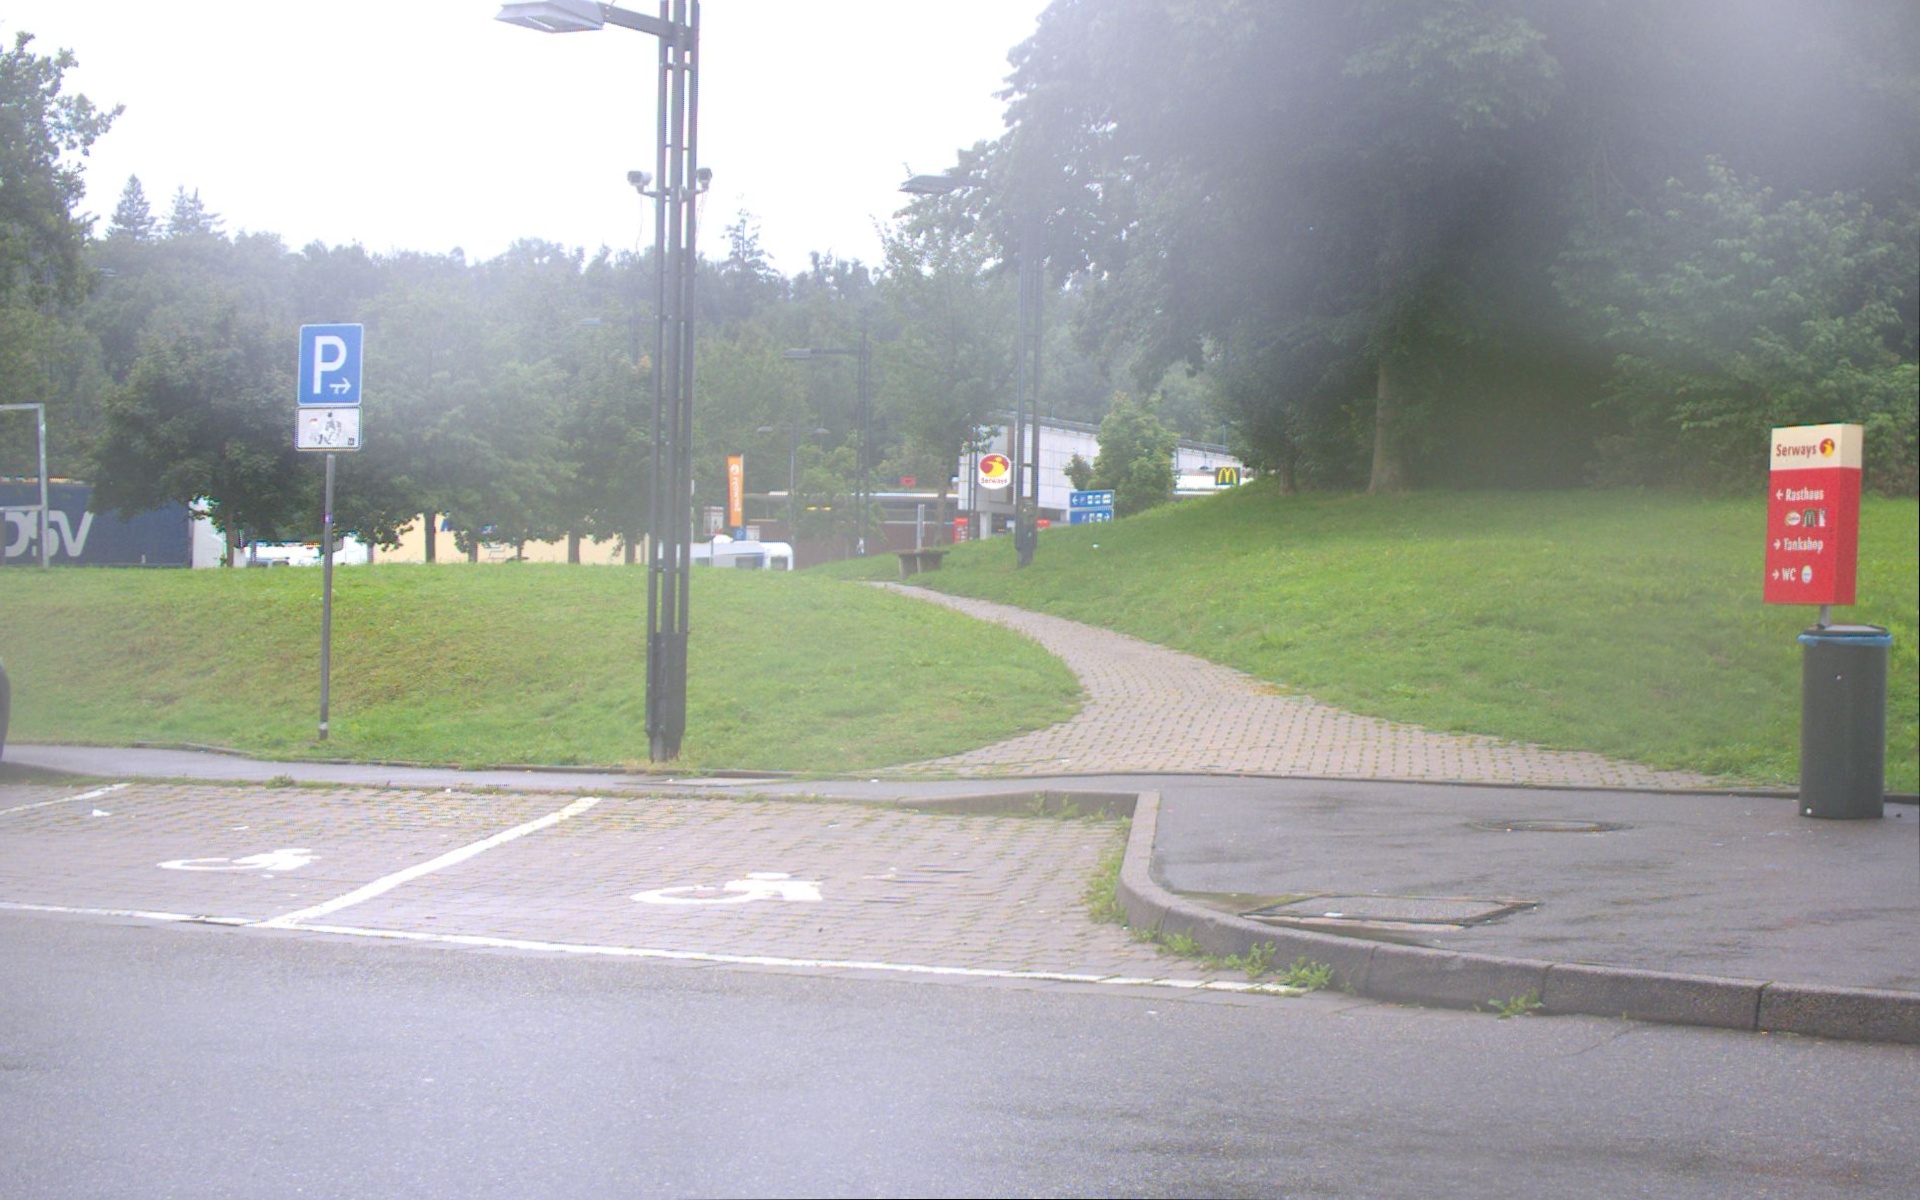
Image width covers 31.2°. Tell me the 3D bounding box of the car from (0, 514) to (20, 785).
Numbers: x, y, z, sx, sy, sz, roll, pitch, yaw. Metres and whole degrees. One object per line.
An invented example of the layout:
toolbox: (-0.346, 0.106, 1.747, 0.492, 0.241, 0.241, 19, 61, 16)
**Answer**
car: (-7.767, 0.372, 21.452, 1.885, 1.821, 4.411, 0, 1, 11)

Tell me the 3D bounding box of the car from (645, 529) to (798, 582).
car: (-9.269, -1.737, 133.723, 5.429, 2.007, 2.453, 1, 1, 20)
